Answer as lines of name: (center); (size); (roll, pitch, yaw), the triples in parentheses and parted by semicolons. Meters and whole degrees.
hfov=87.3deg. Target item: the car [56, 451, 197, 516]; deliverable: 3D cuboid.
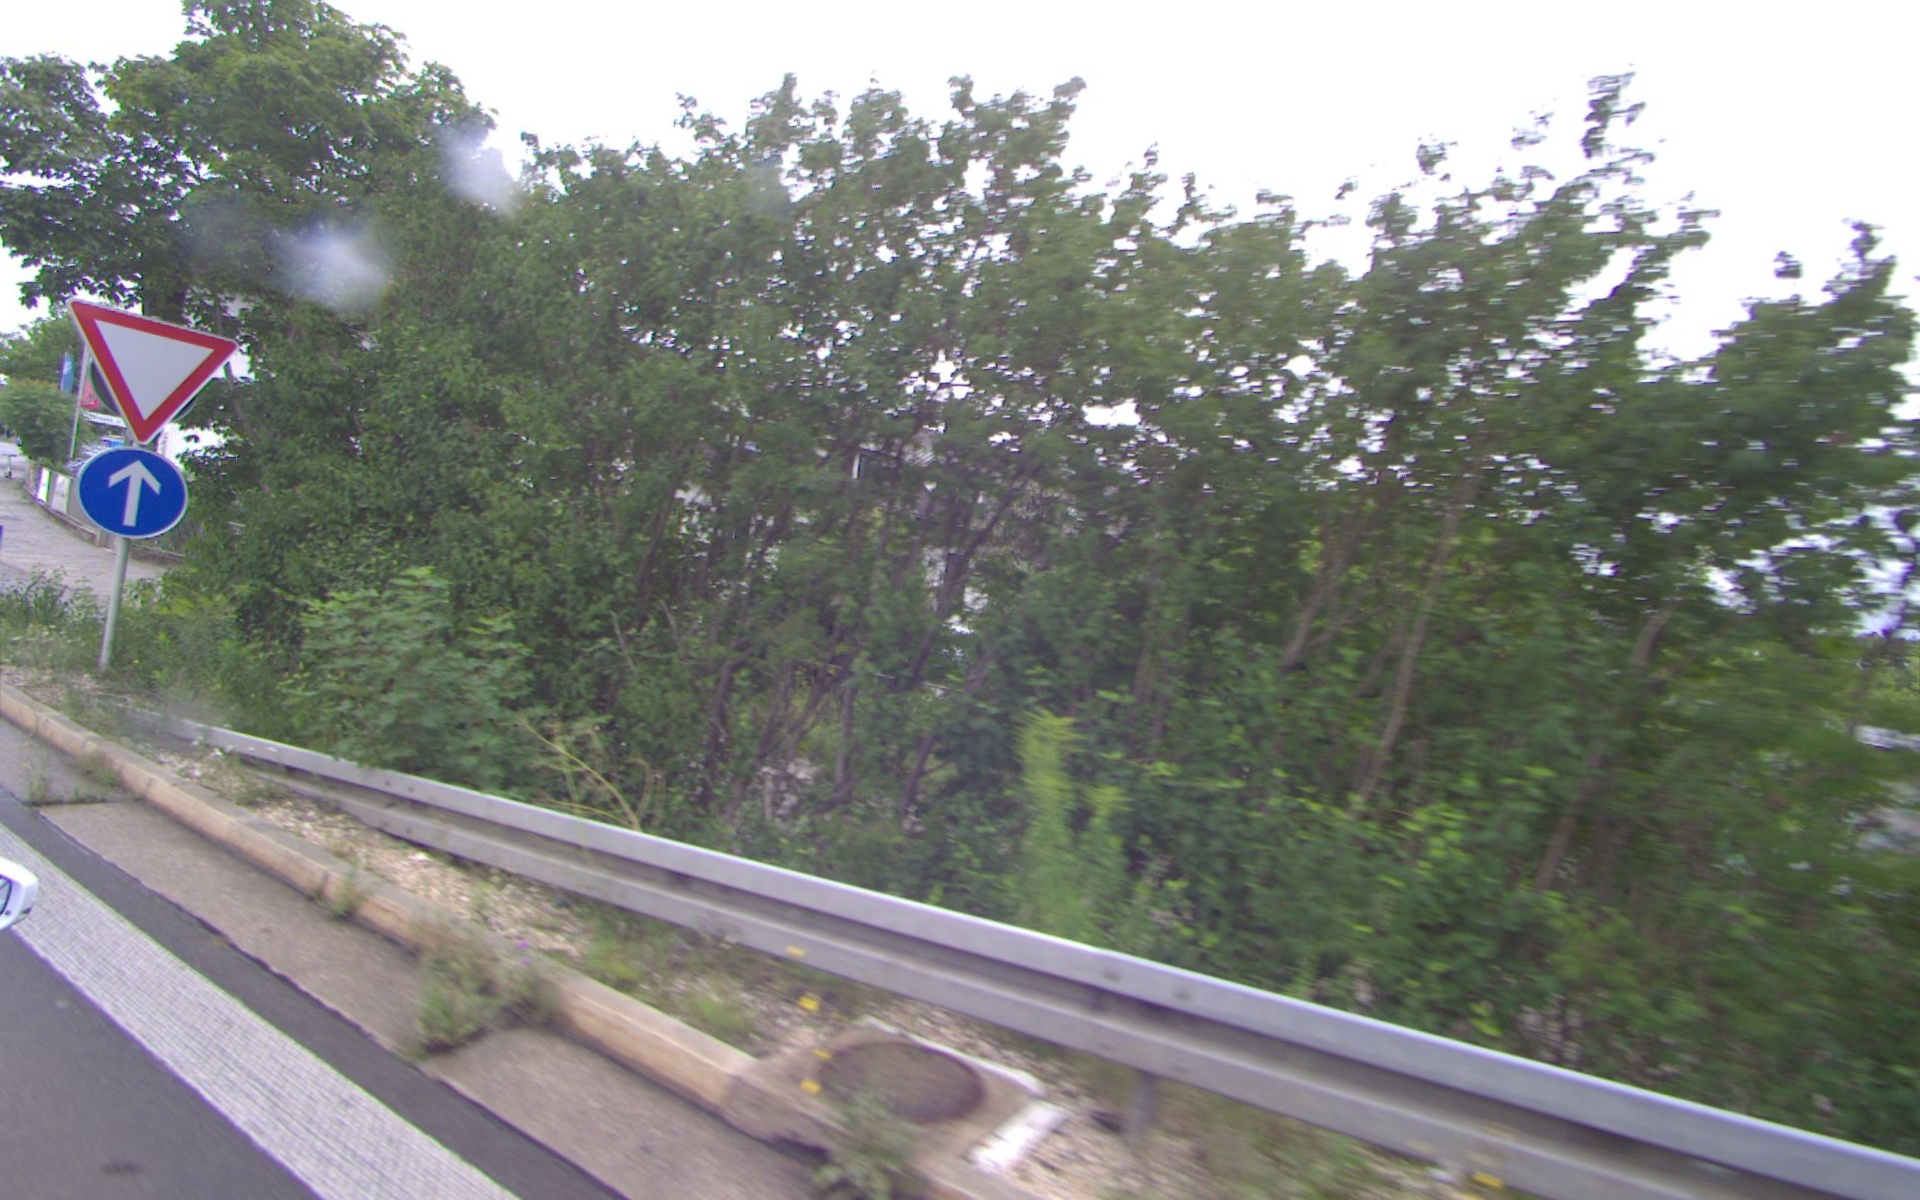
car: (-32.882, -4.588, 39.750); (4.084, 1.747, 1.903); (9, 1, -43)

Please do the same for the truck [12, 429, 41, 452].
truck: (-159.734, -27.268, 172.176); (2.959, 3.326, 7.821); (8, 1, -41)

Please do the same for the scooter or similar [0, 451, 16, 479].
scooter or similar: (-46.747, -6.630, 49.294); (1.614, 1.239, 0.396); (8, 4, 37)
